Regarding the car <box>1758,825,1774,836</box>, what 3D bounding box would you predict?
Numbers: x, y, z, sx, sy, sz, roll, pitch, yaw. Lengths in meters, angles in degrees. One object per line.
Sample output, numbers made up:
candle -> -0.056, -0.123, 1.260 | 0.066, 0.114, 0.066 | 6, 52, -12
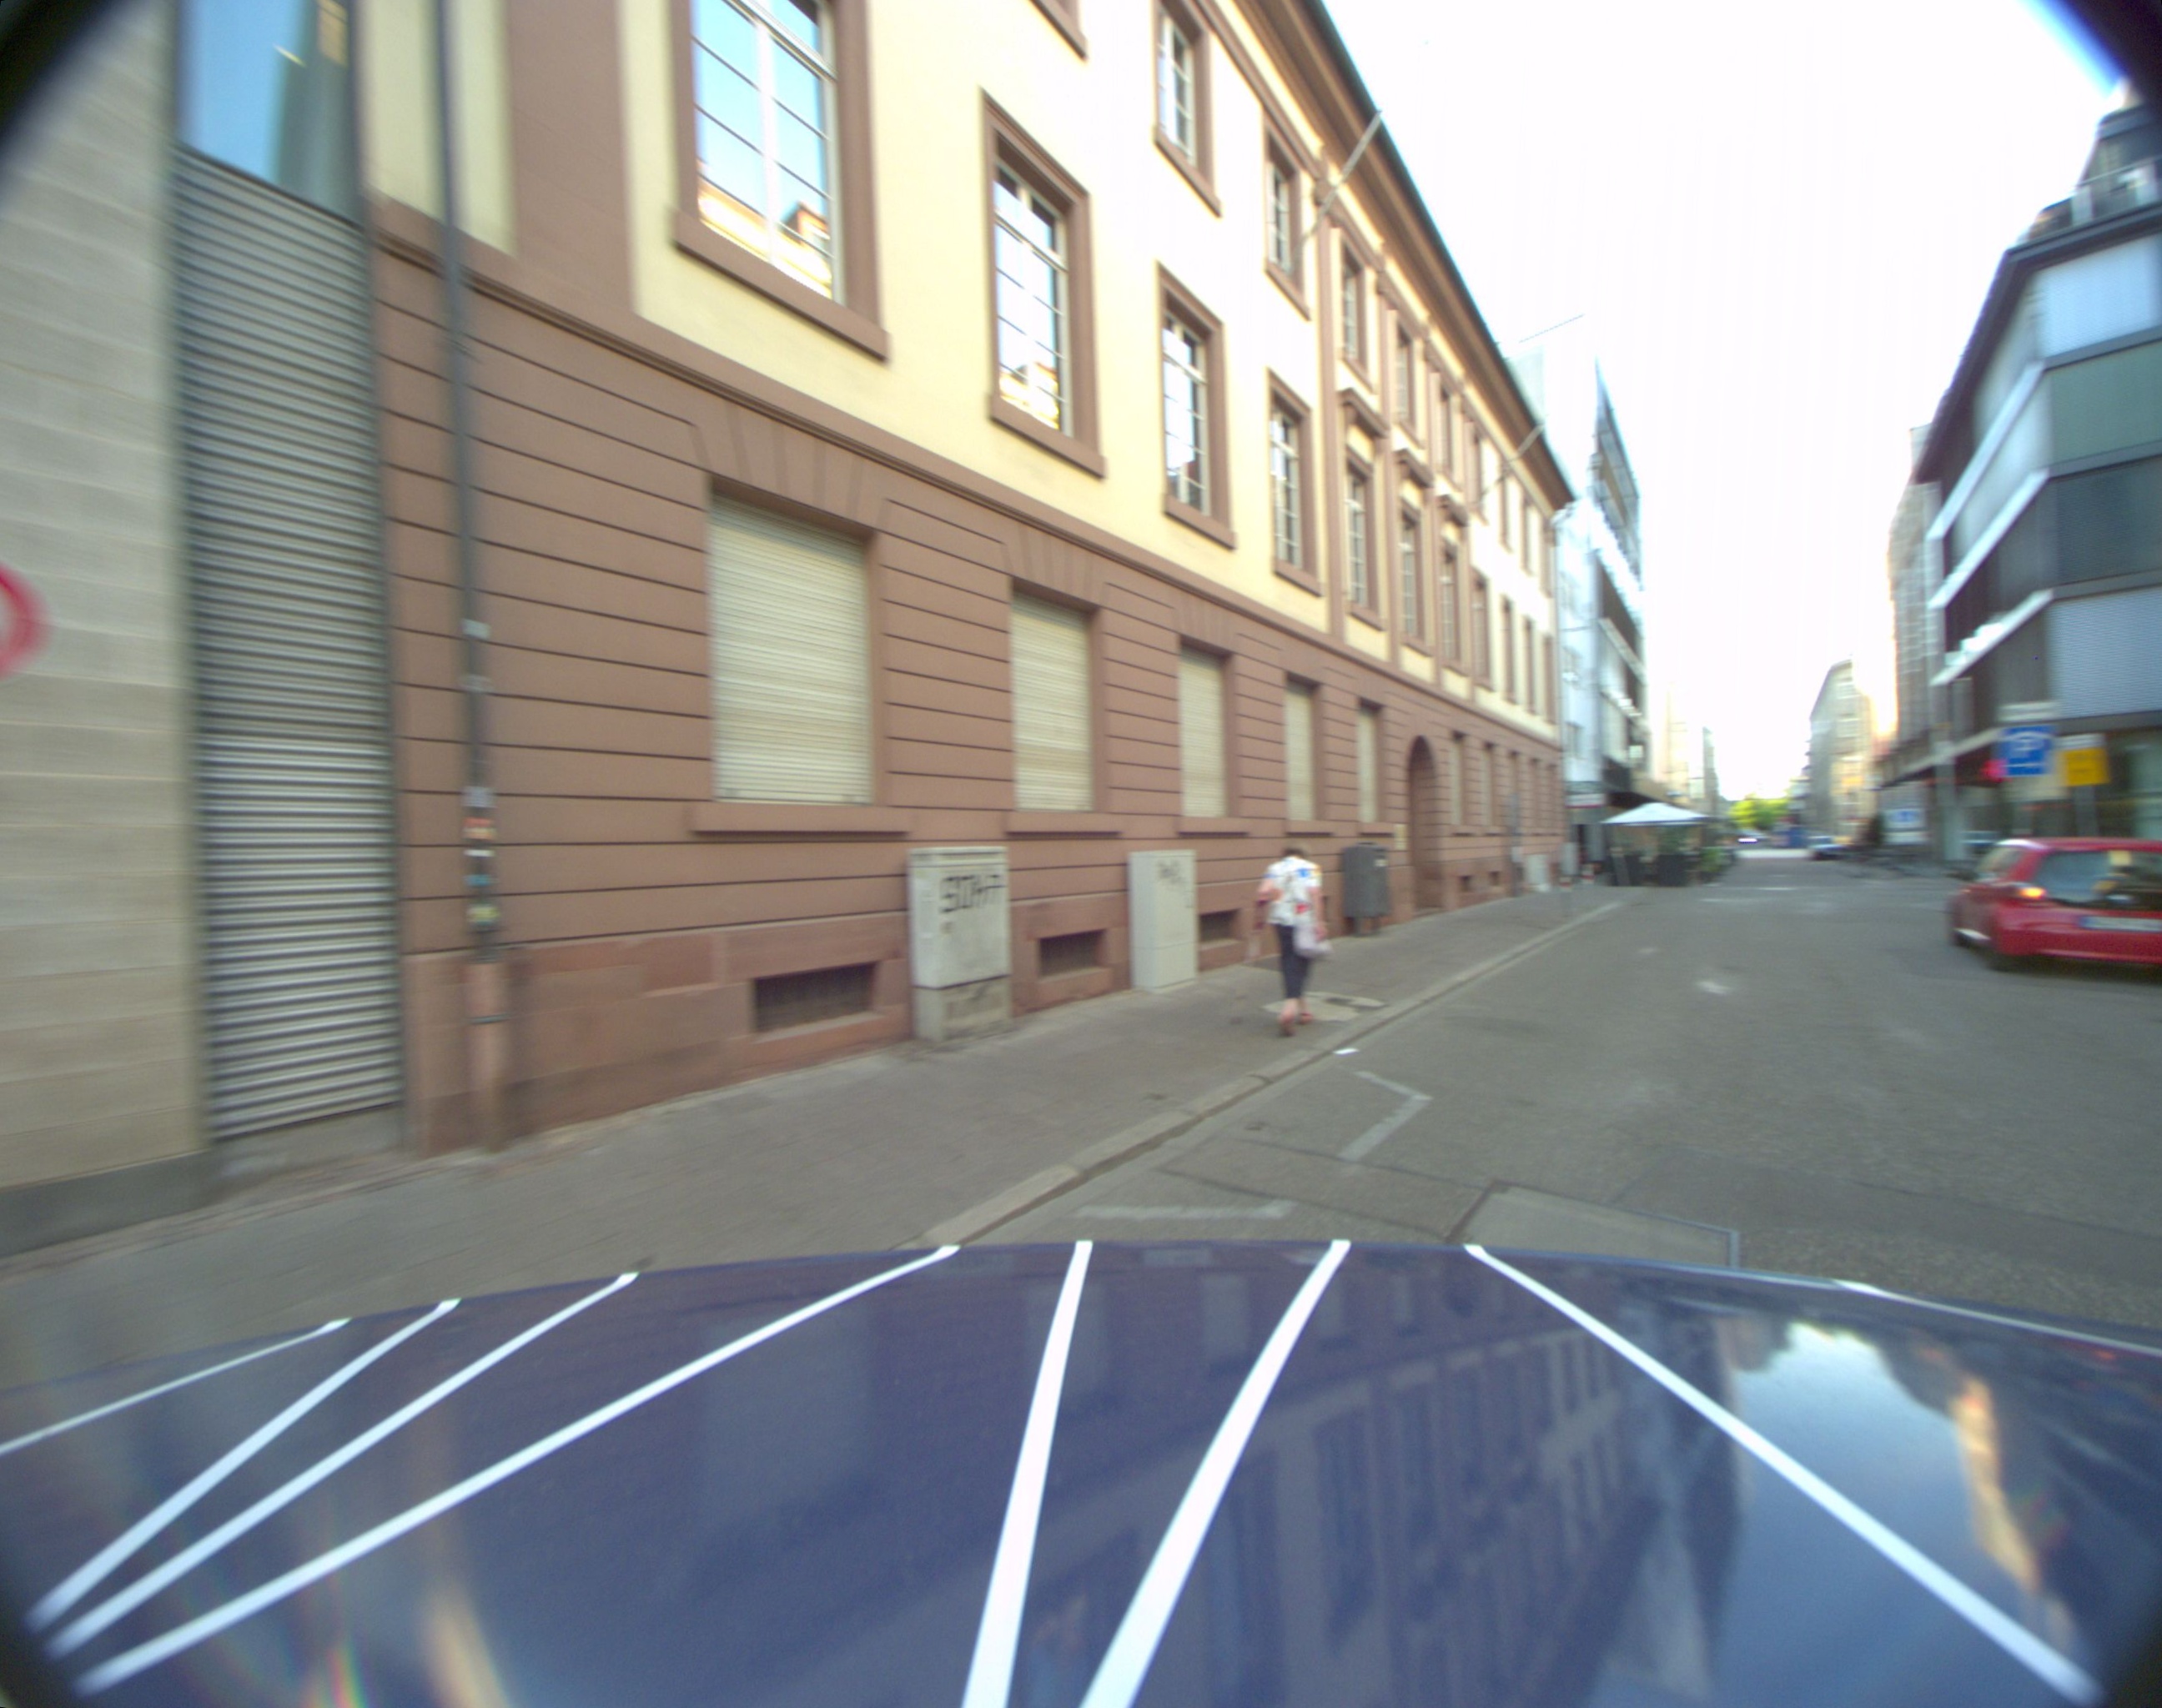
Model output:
car -> 88.873, -3.049, 98.556 | 1.423, 1.292, 3.570 | -2, 0, 41

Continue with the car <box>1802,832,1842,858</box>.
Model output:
car -> 43.934, -0.536, 45.107 | 1.423, 1.409, 3.903 | -2, 0, 41

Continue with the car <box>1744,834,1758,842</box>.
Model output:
car -> 91.656, -2.184, 103.967 | 1.423, 1.090, 3.570 | -3, 0, 41

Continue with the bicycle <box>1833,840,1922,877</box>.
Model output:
bicycle -> 25.898, 0.168, 24.759 | 1.949, 1.123, 0.621 | -3, 0, 43

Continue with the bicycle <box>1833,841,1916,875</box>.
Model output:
bicycle -> 27.828, 0.153, 26.684 | 1.949, 1.123, 0.527 | -3, 0, 43

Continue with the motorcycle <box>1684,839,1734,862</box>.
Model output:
motorcycle -> 36.087, -0.213, 43.678 | 2.188, 1.275, 0.652 | 0, 2, 43

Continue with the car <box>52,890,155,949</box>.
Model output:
car -> -29.257, 1.888, 22.729 | 3.435, 1.484, 1.605 | -1, 1, 34

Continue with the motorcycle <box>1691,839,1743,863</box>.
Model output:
motorcycle -> 35.236, -0.182, 42.124 | 2.188, 1.275, 0.652 | 0, 2, 43

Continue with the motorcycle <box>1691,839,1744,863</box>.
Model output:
motorcycle -> 34.630, -0.159, 41.371 | 2.188, 1.275, 0.652 | 0, 2, 43

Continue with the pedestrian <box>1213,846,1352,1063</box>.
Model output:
pedestrian -> 1.724, 0.775, 6.468 | 0.810, 1.661, 0.932 | 0, 2, 40

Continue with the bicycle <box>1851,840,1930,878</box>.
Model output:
bicycle -> 25.003, 0.174, 23.502 | 1.604, 1.112, 0.621 | -3, 0, 43

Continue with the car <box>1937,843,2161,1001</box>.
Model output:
car -> 11.115, 0.628, 8.506 | 1.633, 1.433, 3.163 | 3, 3, 42
